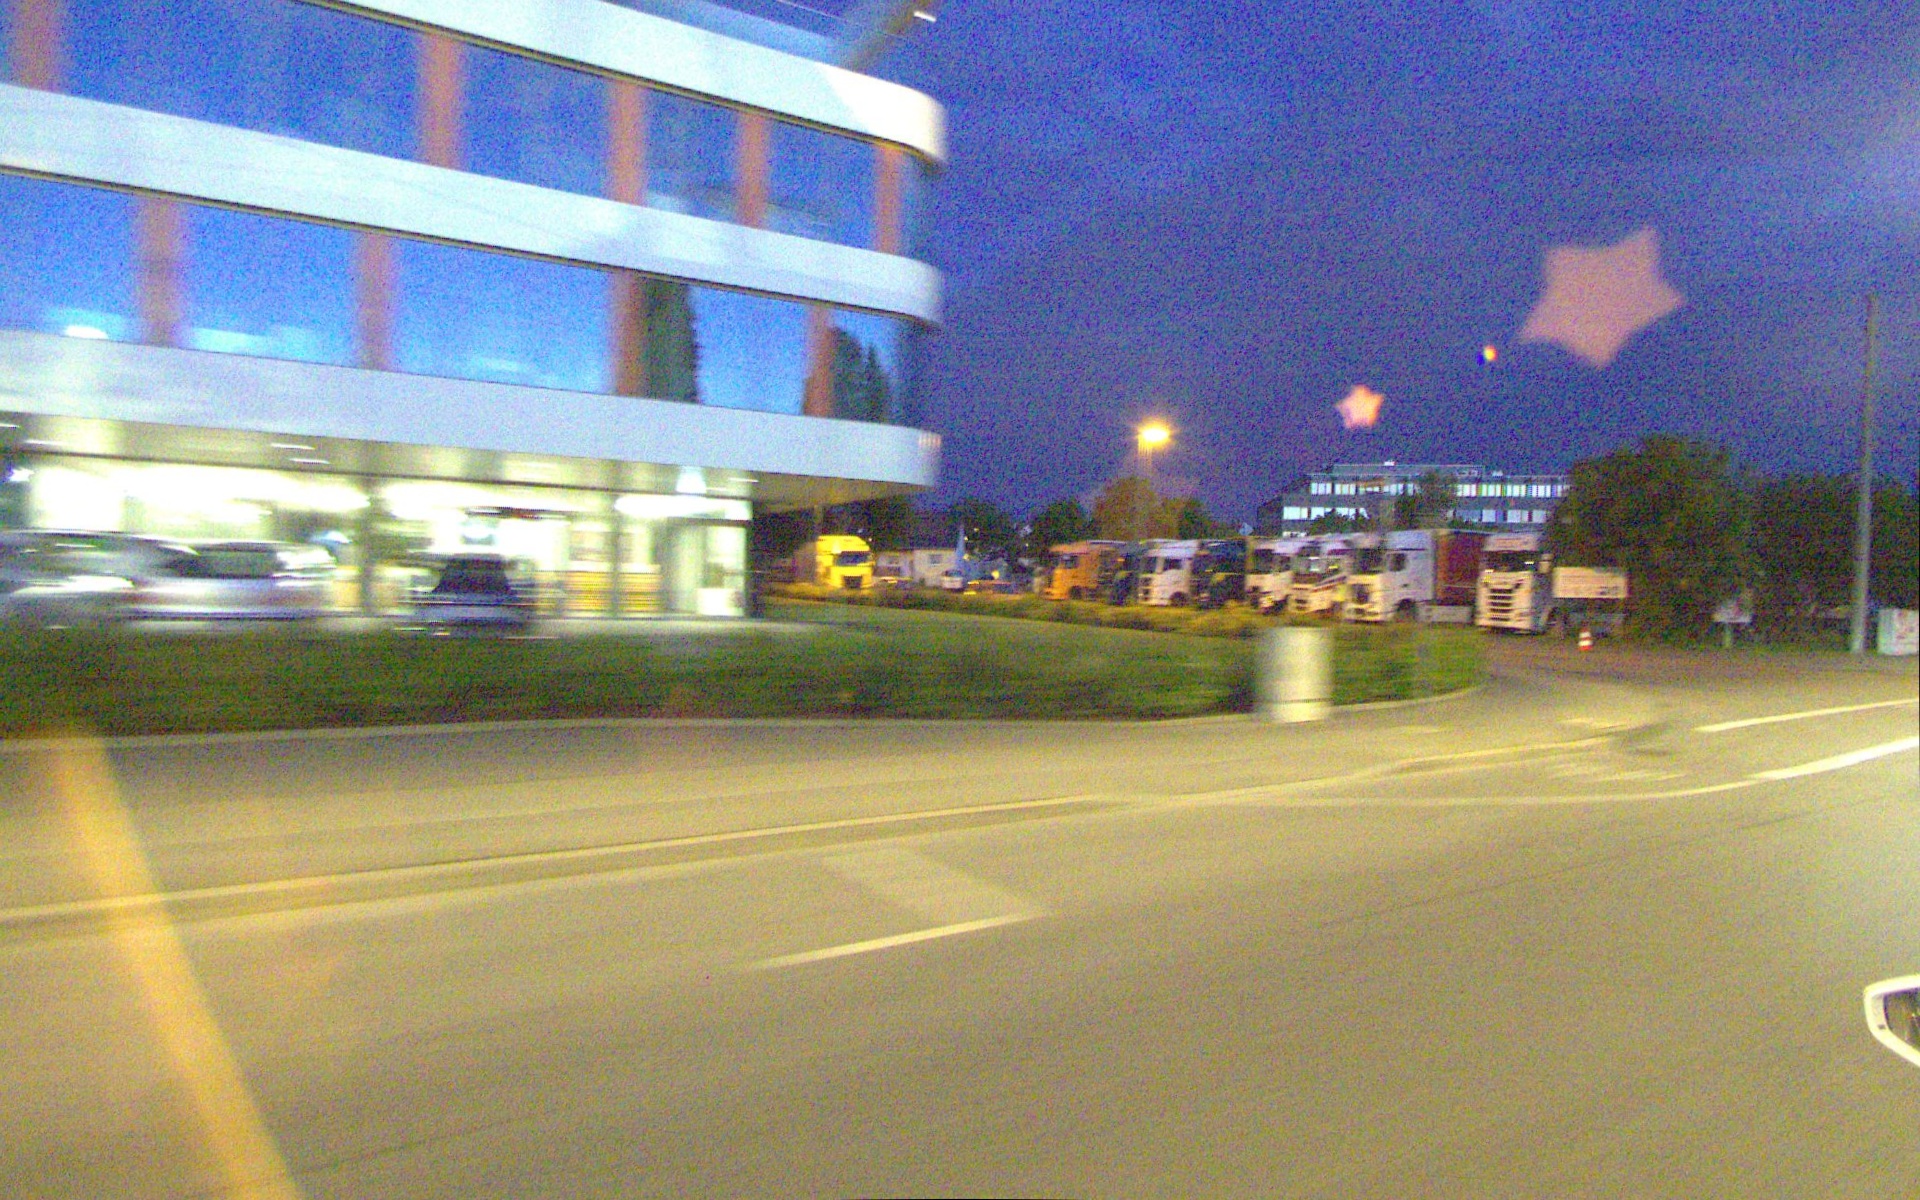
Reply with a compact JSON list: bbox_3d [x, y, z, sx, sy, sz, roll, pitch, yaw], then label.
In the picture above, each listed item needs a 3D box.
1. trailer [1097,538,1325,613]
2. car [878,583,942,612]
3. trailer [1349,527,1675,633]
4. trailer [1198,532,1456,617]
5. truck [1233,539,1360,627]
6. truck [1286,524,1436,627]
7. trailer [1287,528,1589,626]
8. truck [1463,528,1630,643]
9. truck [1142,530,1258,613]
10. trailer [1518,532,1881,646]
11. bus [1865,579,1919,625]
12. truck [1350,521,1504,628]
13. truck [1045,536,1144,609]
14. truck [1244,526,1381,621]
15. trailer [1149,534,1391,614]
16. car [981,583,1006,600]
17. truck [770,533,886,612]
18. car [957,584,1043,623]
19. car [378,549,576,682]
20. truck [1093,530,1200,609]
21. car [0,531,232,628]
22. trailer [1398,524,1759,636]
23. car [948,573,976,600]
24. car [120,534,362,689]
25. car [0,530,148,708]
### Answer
[{"bbox_3d":[16.612,-1.572,66.448,14.745,4.416,3.059,1,2,-13],"label":"trailer"},{"bbox_3d":[-2.689,-0.147,53.049,1.676,1.385,3.964,1,1,-32],"label":"car"},{"bbox_3d":[26.055,-0.889,47.453,14.734,4.416,3.062,1,2,-10],"label":"trailer"},{"bbox_3d":[21.455,-1.410,58.668,14.745,4.416,3.059,1,2,-13],"label":"trailer"},{"bbox_3d":[17.919,-0.912,53.658,5.471,4.416,3.059,1,2,-13],"label":"truck"},{"bbox_3d":[18.281,-1.098,46.022,5.466,4.416,3.062,1,2,-10],"label":"truck"},{"bbox_3d":[24.272,-1.120,51.096,14.735,4.416,3.062,1,2,-11],"label":"trailer"},{"bbox_3d":[21.854,-0.536,37.551,4.429,3.986,3.057,1,2,-16],"label":"truck"},{"bbox_3d":[13.489,-1.607,56.748,5.471,4.416,3.059,1,2,-13],"label":"truck"},{"bbox_3d":[29.294,-0.356,39.669,14.755,3.985,3.057,1,2,-16],"label":"trailer"},{"bbox_3d":[72.246,0.172,73.055,12.456,3.247,3.014,1,1,-14],"label":"bus"},{"bbox_3d":[19.570,-1.058,42.296,4.846,4.204,3.063,1,2,-9],"label":"truck"},{"bbox_3d":[8.613,-1.748,64.516,5.471,4.416,3.059,1,2,-13],"label":"truck"},{"bbox_3d":[17.401,-1.290,49.820,5.467,4.416,3.062,1,2,-10],"label":"truck"},{"bbox_3d":[19.277,-1.585,62.459,14.745,4.416,3.059,1,2,-13],"label":"trailer"},{"bbox_3d":[2.687,-0.732,81.335,1.645,1.298,3.528,1,1,-5],"label":"car"},{"bbox_3d":[-8.809,-1.687,65.064,3.533,4.611,12.506,1,1,-27],"label":"truck"},{"bbox_3d":[1.698,0.120,44.127,1.870,1.573,3.964,1,1,-32],"label":"car"},{"bbox_3d":[-6.397,0.154,13.620,2.032,1.472,4.437,1,1,-23],"label":"car"},{"bbox_3d":[11.164,-1.816,60.489,5.471,4.416,3.059,1,2,-13],"label":"truck"},{"bbox_3d":[-16.146,-0.366,18.481,4.148,1.664,1.986,1,2,-27],"label":"car"},{"bbox_3d":[26.688,-0.819,43.451,14.729,4.204,3.063,2,2,-9],"label":"trailer"},{"bbox_3d":[0.210,-1.117,80.622,1.960,2.041,4.654,1,1,3],"label":"car"},{"bbox_3d":[-8.781,0.096,12.646,1.817,1.601,4.117,1,1,-26],"label":"car"},{"bbox_3d":[-10.840,0.124,11.200,1.938,1.703,4.386,1,1,-28],"label":"car"}]
